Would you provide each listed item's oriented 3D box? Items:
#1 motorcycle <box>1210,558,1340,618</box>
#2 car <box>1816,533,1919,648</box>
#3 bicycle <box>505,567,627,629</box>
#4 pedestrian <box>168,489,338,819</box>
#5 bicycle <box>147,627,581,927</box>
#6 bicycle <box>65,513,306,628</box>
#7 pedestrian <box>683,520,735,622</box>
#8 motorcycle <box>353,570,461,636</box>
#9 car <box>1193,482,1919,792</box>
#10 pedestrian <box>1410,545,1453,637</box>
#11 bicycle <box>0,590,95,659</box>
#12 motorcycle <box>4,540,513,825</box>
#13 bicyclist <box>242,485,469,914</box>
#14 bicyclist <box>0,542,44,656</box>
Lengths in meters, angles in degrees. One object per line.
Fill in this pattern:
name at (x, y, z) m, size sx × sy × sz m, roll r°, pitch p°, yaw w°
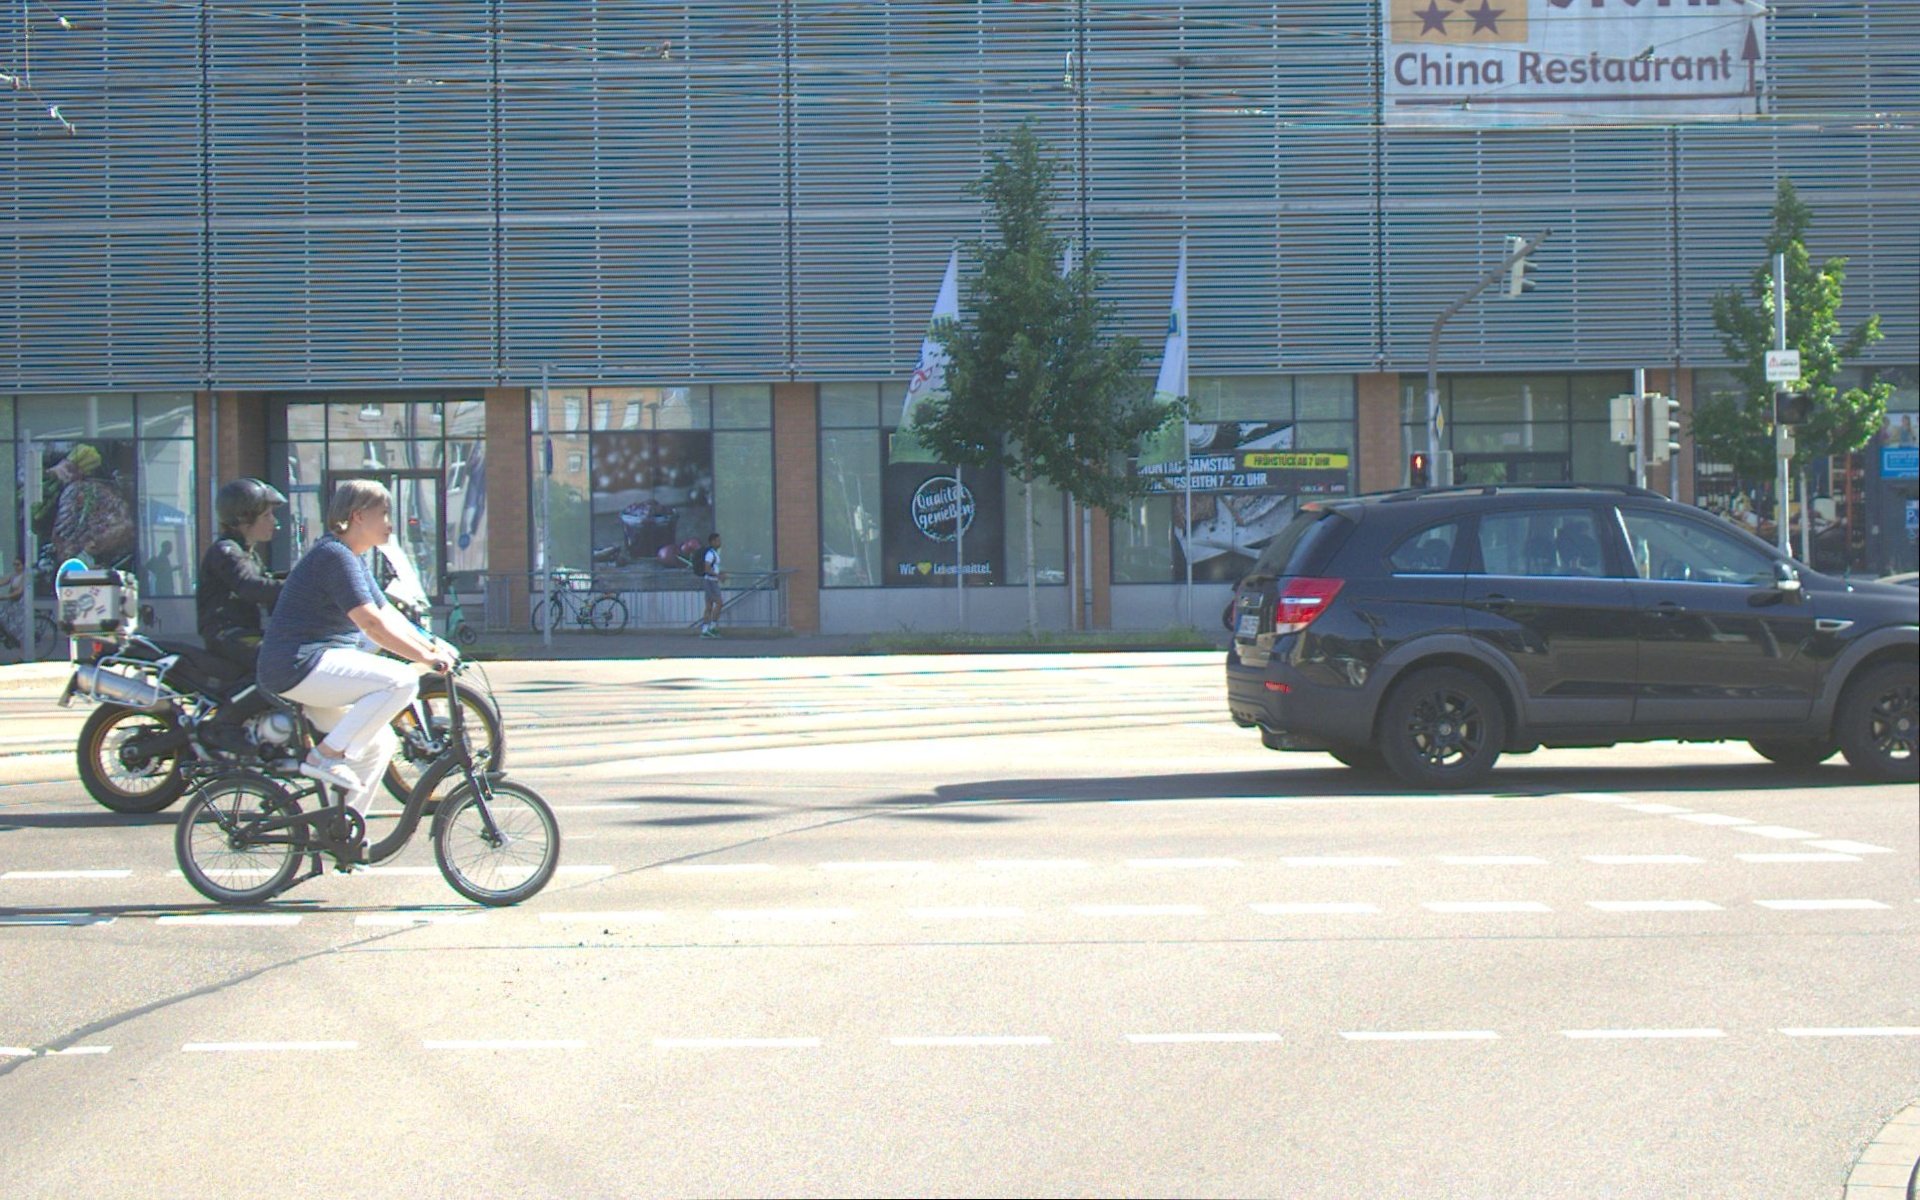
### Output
motorcycle at (5.564, -0.220, 60.834) m, size 2.202 × 1.039 × 1.061 m, roll 0°, pitch 1°, yaw 0°
car at (13.809, -0.159, 45.656) m, size 4.487 × 1.489 × 1.495 m, roll -1°, pitch 1°, yaw 0°
bicycle at (-6.947, -0.036, 60.655) m, size 2.026 × 1.055 × 1.145 m, roll -1°, pitch 1°, yaw -1°
pedestrian at (-3.650, 0.269, 17.791) m, size 0.744 × 1.671 × 0.665 m, roll 0°, pitch 1°, yaw -1°
bicycle at (-2.295, 0.671, 13.392) m, size 1.576 × 1.103 × 0.734 m, roll -1°, pitch 1°, yaw -2°
bicycle at (-13.769, -0.530, 61.189) m, size 3.987 × 2.007 × 1.330 m, roll 0°, pitch 1°, yaw 0°
pedestrian at (-4.368, -0.502, 59.777) m, size 0.848 × 1.757 × 0.620 m, roll -1°, pitch 1°, yaw -1°
motorcycle at (-9.010, 0.042, 56.037) m, size 1.652 × 1.055 × 0.497 m, roll -1°, pitch 1°, yaw 9°
car at (3.828, 0.165, 20.218) m, size 4.634 × 1.712 × 1.840 m, roll 0°, pitch 2°, yaw -7°
pedestrian at (7.575, -0.150, 55.252) m, size 0.589 × 1.457 × 0.658 m, roll -1°, pitch 1°, yaw -1°
bicycle at (-15.119, 0.388, 54.992) m, size 2.238 × 1.067 × 1.046 m, roll -1°, pitch 1°, yaw -41°
motorcycle at (-3.585, 0.409, 17.741) m, size 2.442 × 1.414 × 0.915 m, roll 1°, pitch 1°, yaw -2°
bicyclist at (-2.376, 0.376, 13.576) m, size 0.782 × 1.643 × 0.690 m, roll -1°, pitch 1°, yaw -2°
bicyclist at (-15.213, -0.015, 54.902) m, size 0.843 × 1.797 × 0.816 m, roll -1°, pitch 1°, yaw -42°
